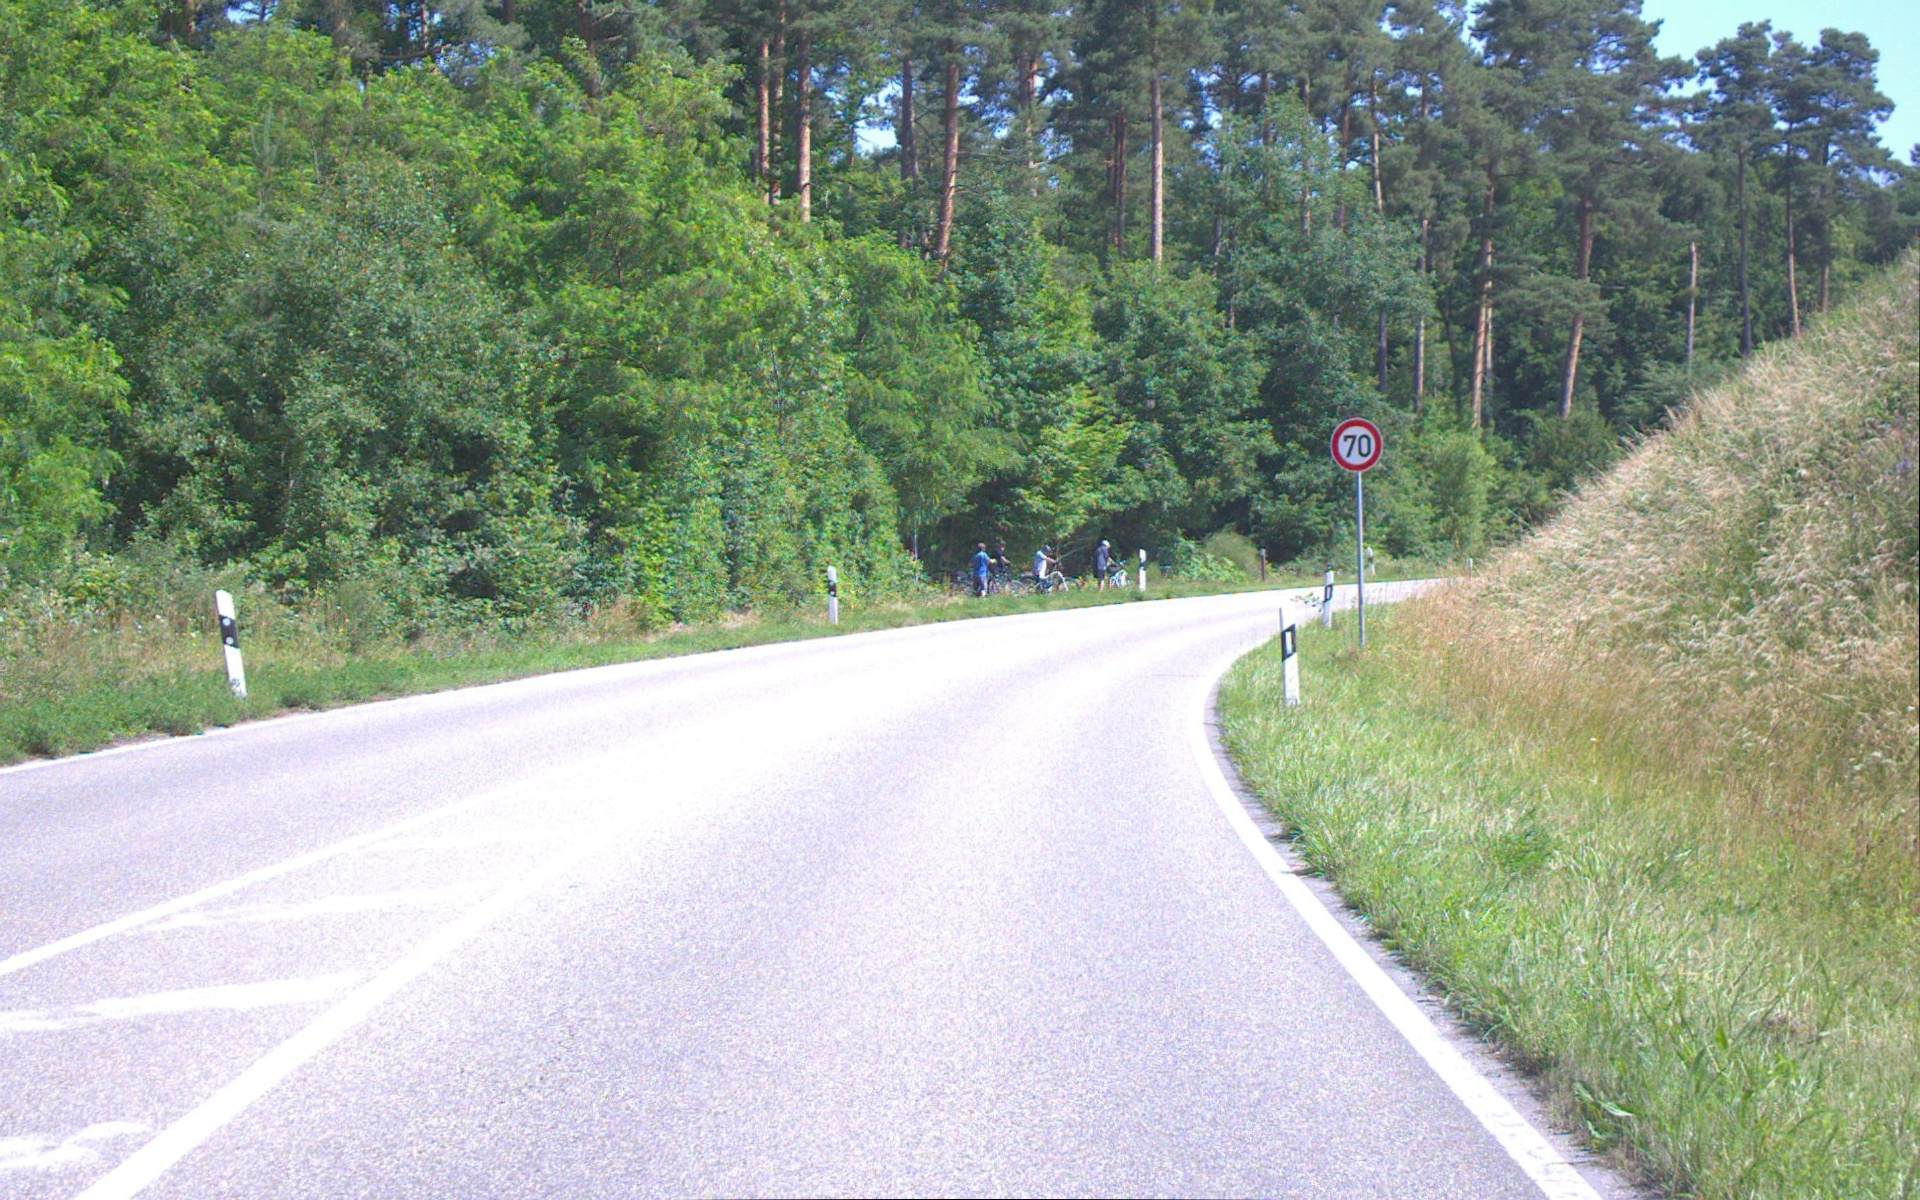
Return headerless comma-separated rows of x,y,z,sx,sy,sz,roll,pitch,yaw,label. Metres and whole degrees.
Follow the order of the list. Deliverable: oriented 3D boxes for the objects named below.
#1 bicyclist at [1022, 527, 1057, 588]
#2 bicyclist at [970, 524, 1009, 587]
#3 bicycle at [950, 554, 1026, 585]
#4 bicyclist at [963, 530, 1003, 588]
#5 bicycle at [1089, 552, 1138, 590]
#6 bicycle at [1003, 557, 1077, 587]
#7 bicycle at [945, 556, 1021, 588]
2.241,-1.193,97.079,0.786,1.713,0.606,1,0,-20,bicyclist
0.787,-1.194,93.109,0.847,1.695,0.606,1,0,-27,bicyclist
0.764,-0.825,93.101,1.978,0.827,0.606,1,1,-27,bicycle
0.627,-1.104,92.321,0.868,1.540,0.606,1,0,-27,bicyclist
4.525,-0.857,101.266,1.443,1.082,0.582,-3,4,-42,bicycle
2.256,-0.790,97.096,1.978,0.827,0.606,1,0,-20,bicycle
0.621,-0.740,92.315,1.978,0.827,0.606,1,1,-27,bicycle
